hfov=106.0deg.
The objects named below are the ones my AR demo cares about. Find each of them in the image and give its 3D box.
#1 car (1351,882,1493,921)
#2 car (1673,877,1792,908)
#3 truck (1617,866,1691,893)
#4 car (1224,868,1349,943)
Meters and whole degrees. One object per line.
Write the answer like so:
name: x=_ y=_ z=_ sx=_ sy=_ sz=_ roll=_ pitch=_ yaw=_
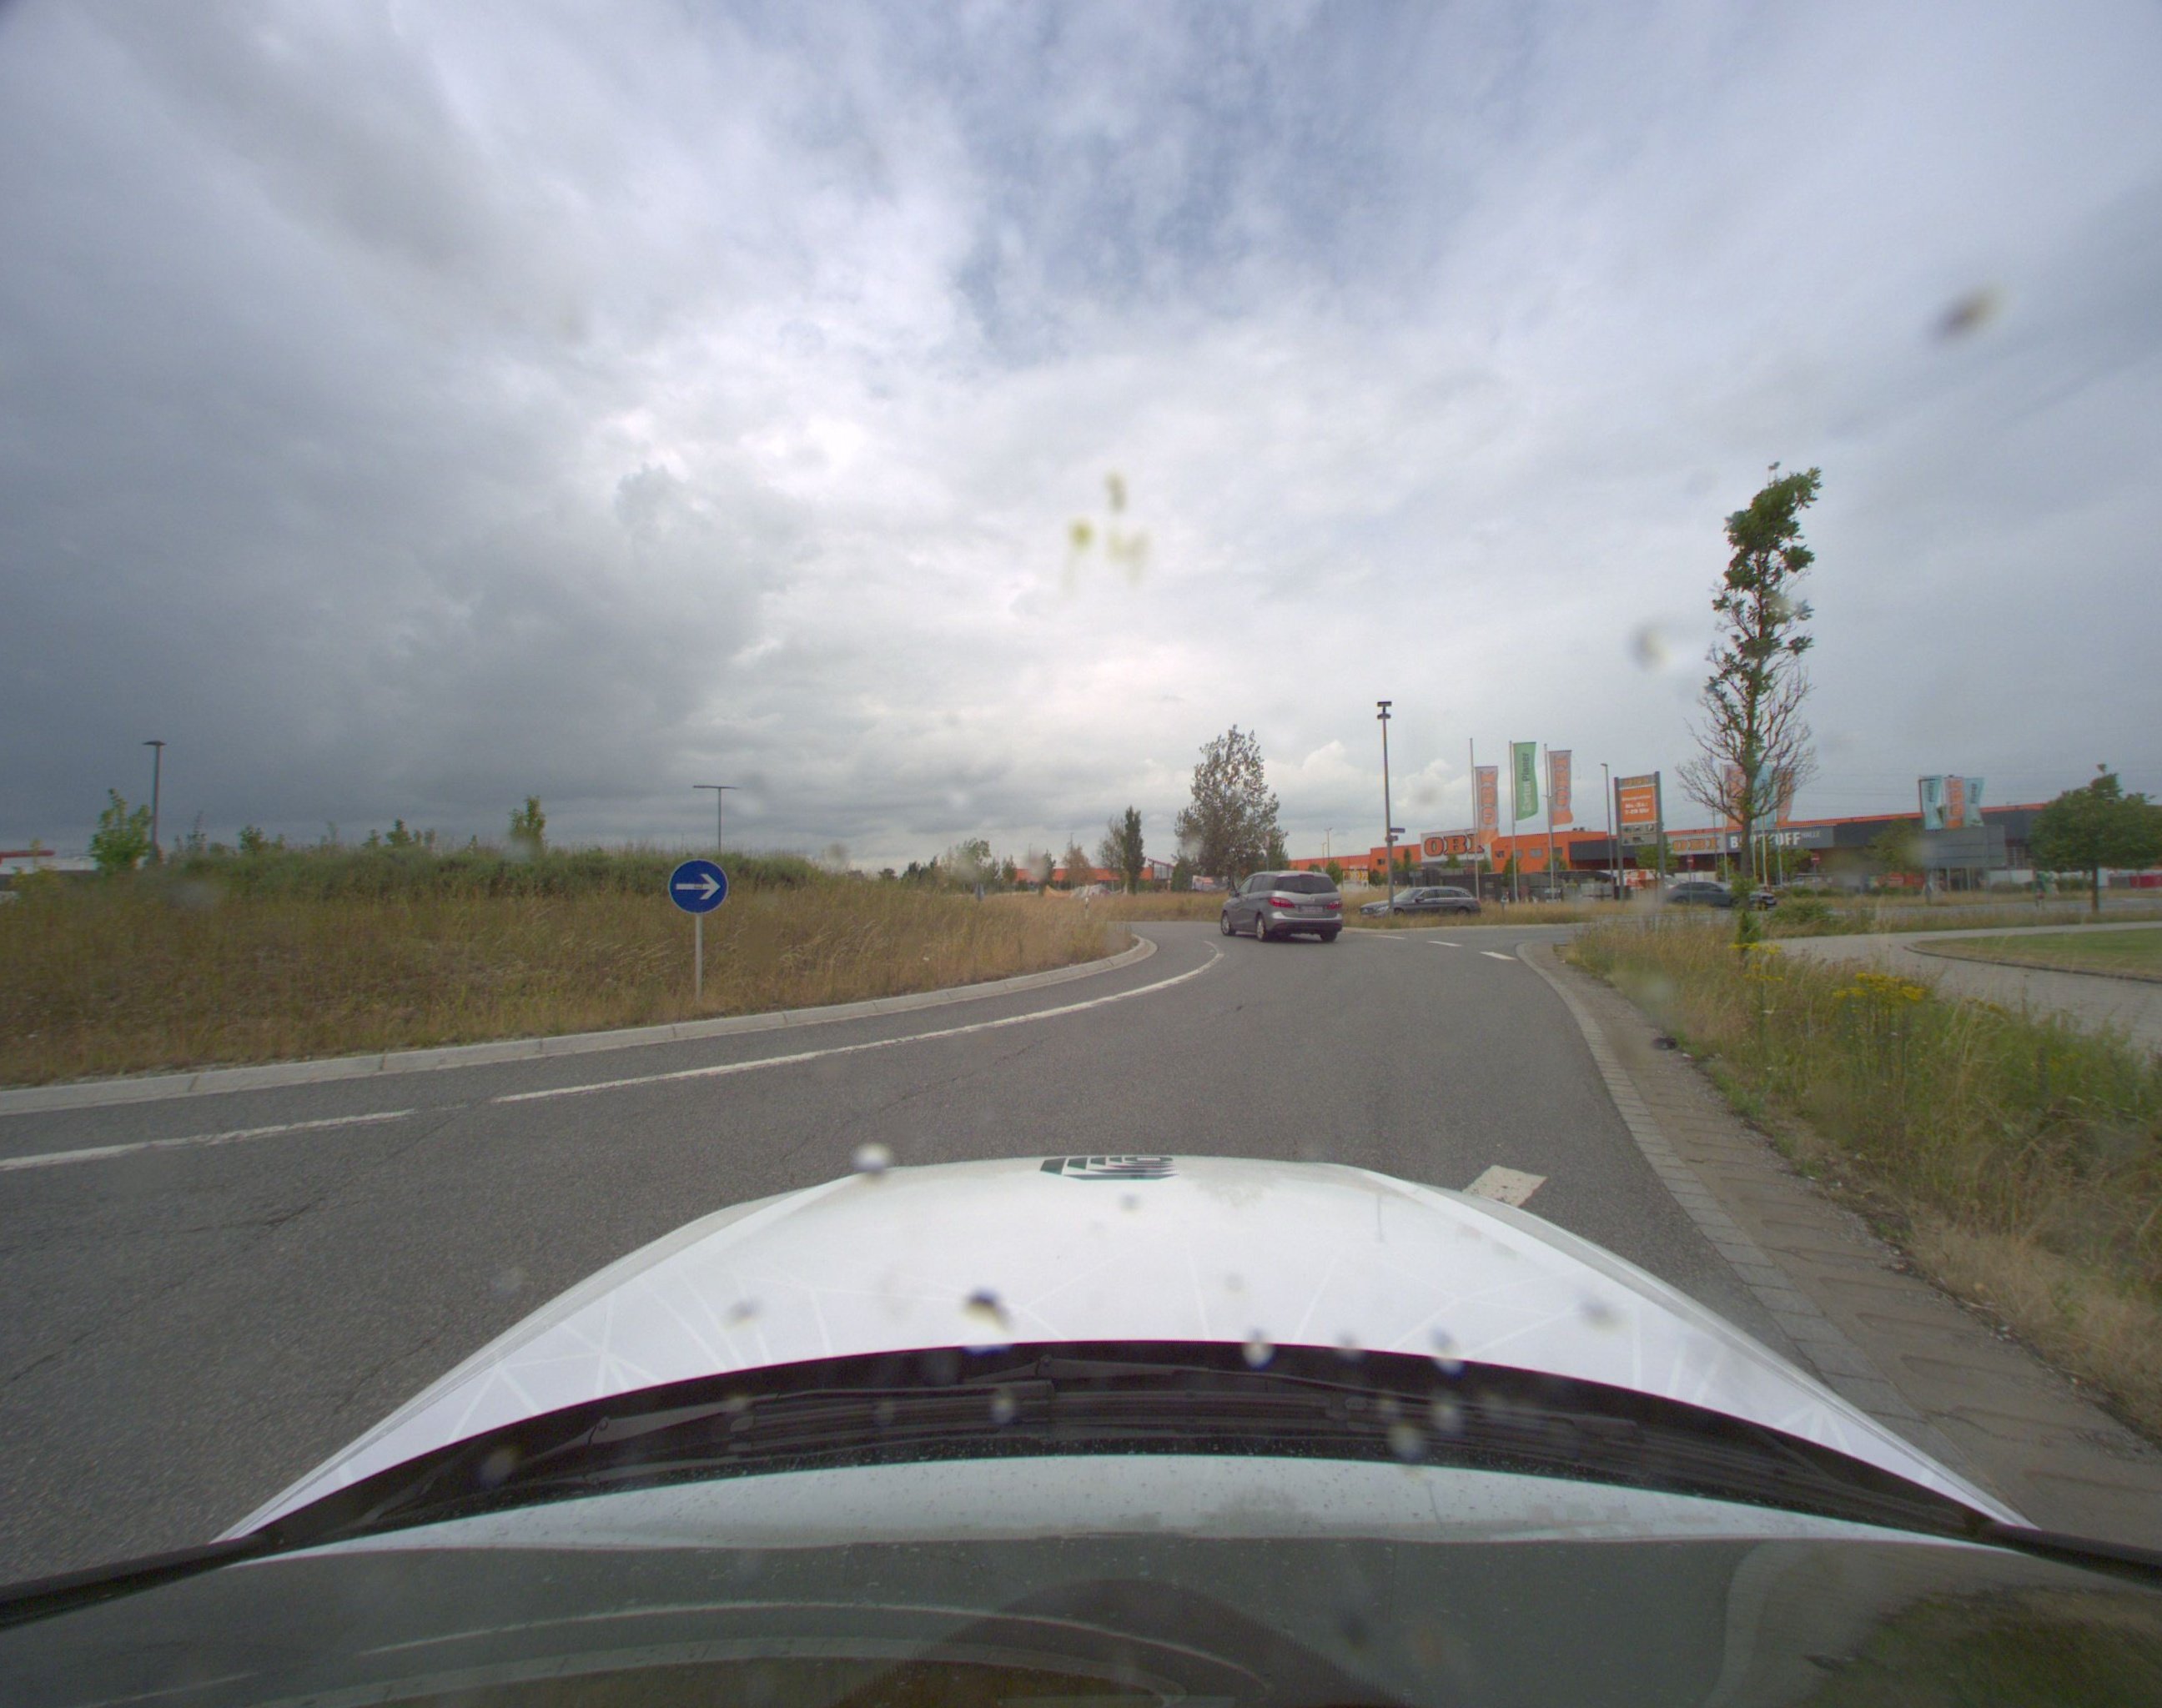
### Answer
car: x=12.802 y=1.783 z=30.696 sx=4.674 sy=1.404 sz=1.921 roll=1 pitch=-3 yaw=-11
car: x=34.490 y=2.111 z=43.285 sx=1.995 sy=1.507 sz=4.660 roll=1 pitch=-5 yaw=-13
truck: x=57.314 y=2.589 z=81.569 sx=2.444 sy=2.485 sz=5.504 roll=2 pitch=-5 yaw=-24
car: x=4.748 y=1.136 z=19.402 sx=1.734 sy=1.599 sz=3.991 roll=1 pitch=-1 yaw=-4
